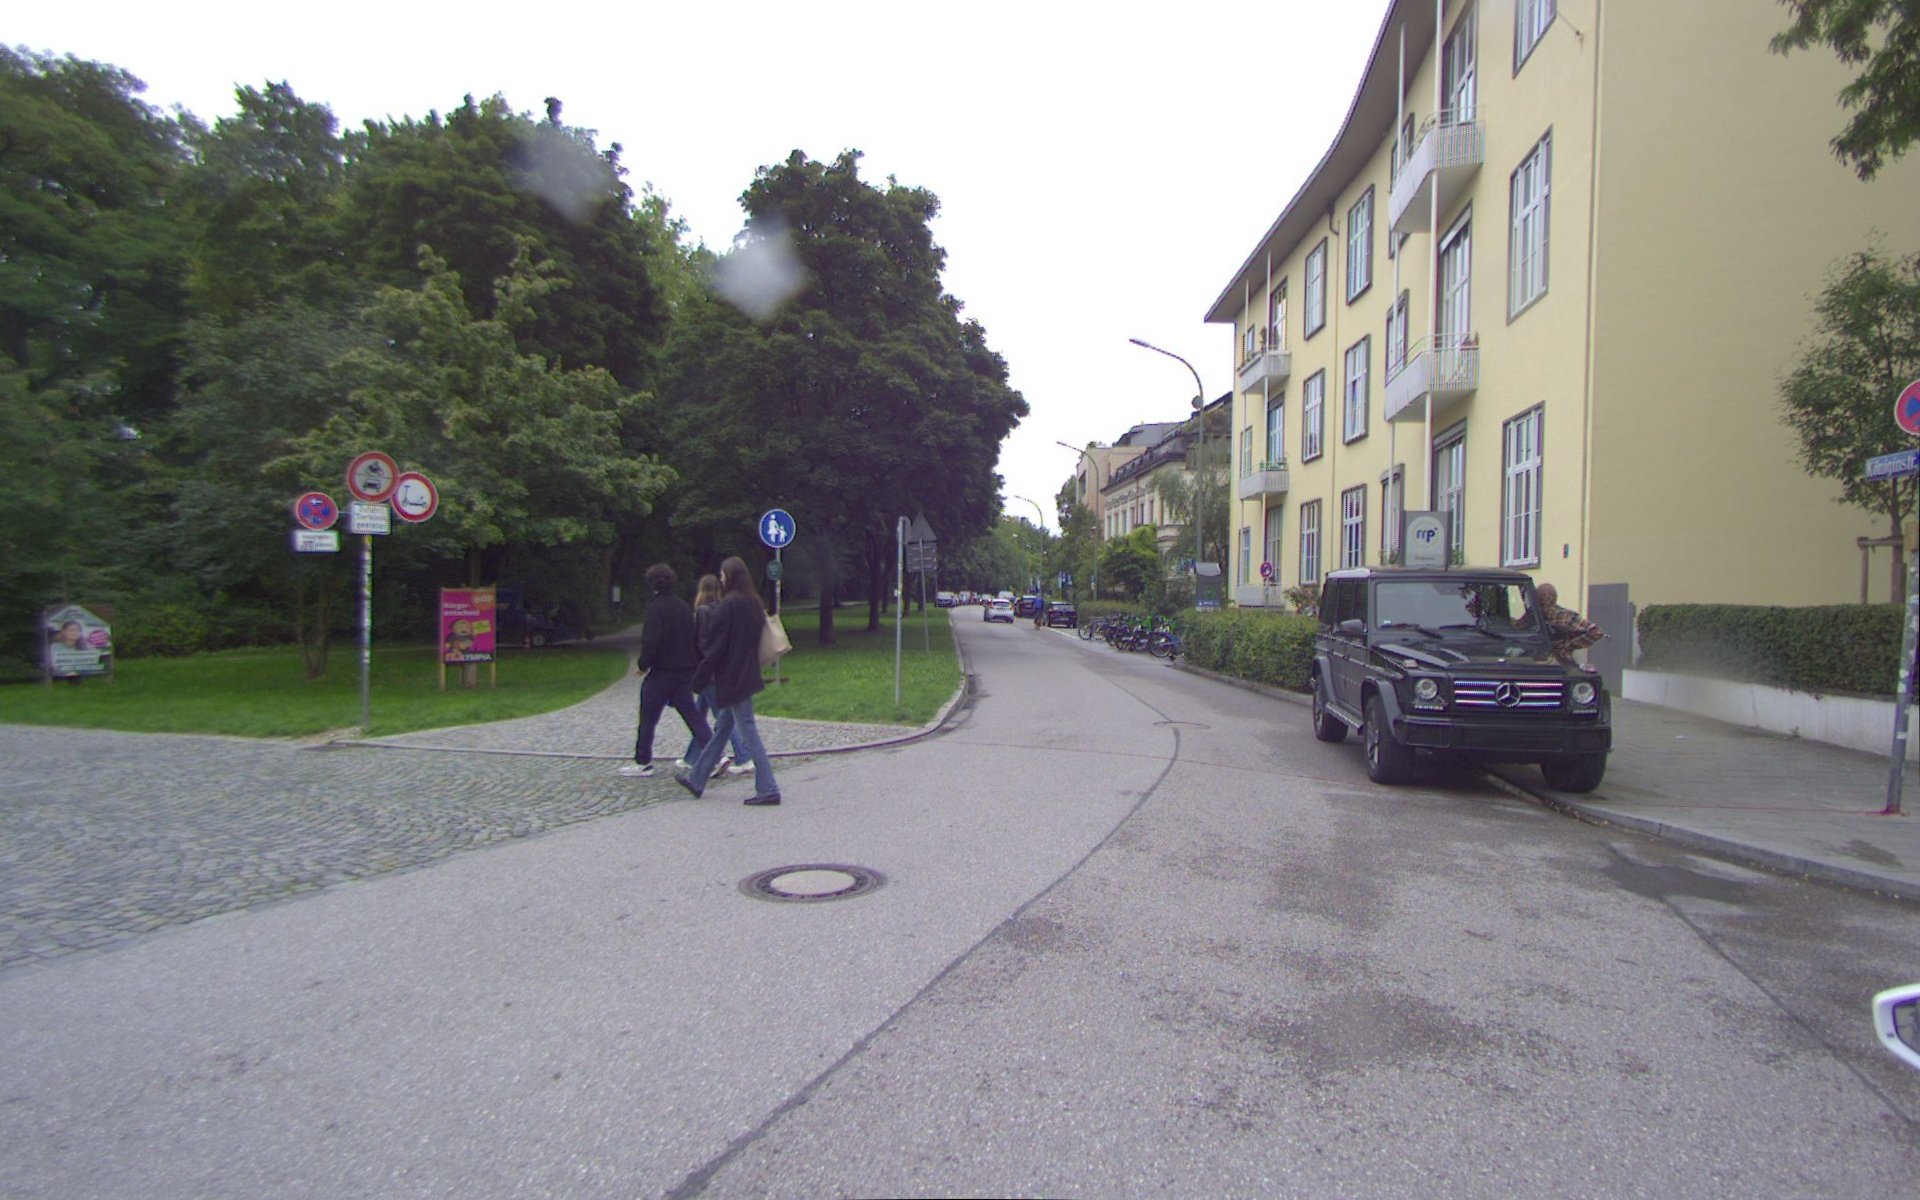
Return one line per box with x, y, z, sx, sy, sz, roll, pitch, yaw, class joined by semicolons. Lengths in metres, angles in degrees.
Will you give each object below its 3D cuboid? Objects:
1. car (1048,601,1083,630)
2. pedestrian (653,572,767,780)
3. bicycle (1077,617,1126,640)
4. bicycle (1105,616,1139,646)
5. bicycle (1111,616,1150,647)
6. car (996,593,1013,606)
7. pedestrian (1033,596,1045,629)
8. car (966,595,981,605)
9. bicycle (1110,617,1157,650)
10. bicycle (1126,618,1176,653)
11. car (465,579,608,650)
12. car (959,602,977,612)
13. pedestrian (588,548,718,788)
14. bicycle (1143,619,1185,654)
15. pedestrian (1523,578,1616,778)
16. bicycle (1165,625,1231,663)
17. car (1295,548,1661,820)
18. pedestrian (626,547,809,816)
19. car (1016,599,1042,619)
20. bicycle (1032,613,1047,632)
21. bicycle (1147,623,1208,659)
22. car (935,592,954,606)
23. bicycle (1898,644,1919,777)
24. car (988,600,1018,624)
6.065;0.886;58.073;1.627;1.549;4.000;2;0;1;car
-2.274;0.676;9.164;0.786;1.805;0.634;-2;-2;24;pedestrian
6.040;1.223;43.028;1.997;0.920;0.546;2;0;-3;bicycle
5.950;1.141;36.863;0.386;1.079;1.603;2;0;44;bicycle
5.972;1.100;35.135;1.600;1.079;0.387;2;0;-41;bicycle
5.025;-0.072;113.741;1.720;1.409;3.862;2;0;-1;car
4.058;0.617;51.512;0.463;1.651;0.758;2;0;-6;pedestrian
2.034;0.058;151.273;1.885;1.409;3.864;2;0;6;car
5.857;1.150;33.923;1.594;1.079;0.474;2;0;-30;bicycle
6.258;1.165;32.858;1.590;1.079;0.475;2;0;-23;bicycle
-13.582;0.412;32.259;3.929;2.133;1.886;0;1;-36;car
1.096;0.947;138.602;1.885;1.409;3.864;2;0;8;car
-2.616;0.567;8.593;0.788;1.928;0.708;-2;-2;24;pedestrian
6.514;1.173;32.046;1.600;1.079;0.379;2;0;-40;bicycle
5.811;0.721;9.583;0.631;1.822;0.558;-2;-1;42;pedestrian
6.680;1.238;28.198;1.720;0.997;0.440;2;0;-5;bicycle
4.729;0.642;9.996;1.897;2.028;4.423;2;0;9;car
-1.809;0.584;7.517;1.094;1.857;0.751;-2;-2;24;pedestrian
5.318;0.675;77.742;1.597;1.439;3.792;2;0;-1;car
4.055;1.143;51.446;0.474;0.920;1.630;2;0;-6;bicycle
6.454;1.216;29.874;1.719;0.997;0.364;2;0;-4;bicycle
-1.608;-0.096;104.813;1.712;1.409;3.974;2;0;2;car
9.041;0.976;8.232;0.574;1.172;1.945;-1;0;-17;bicycle
2.716;0.760;63.990;1.720;1.409;3.862;2;0;-1;car
